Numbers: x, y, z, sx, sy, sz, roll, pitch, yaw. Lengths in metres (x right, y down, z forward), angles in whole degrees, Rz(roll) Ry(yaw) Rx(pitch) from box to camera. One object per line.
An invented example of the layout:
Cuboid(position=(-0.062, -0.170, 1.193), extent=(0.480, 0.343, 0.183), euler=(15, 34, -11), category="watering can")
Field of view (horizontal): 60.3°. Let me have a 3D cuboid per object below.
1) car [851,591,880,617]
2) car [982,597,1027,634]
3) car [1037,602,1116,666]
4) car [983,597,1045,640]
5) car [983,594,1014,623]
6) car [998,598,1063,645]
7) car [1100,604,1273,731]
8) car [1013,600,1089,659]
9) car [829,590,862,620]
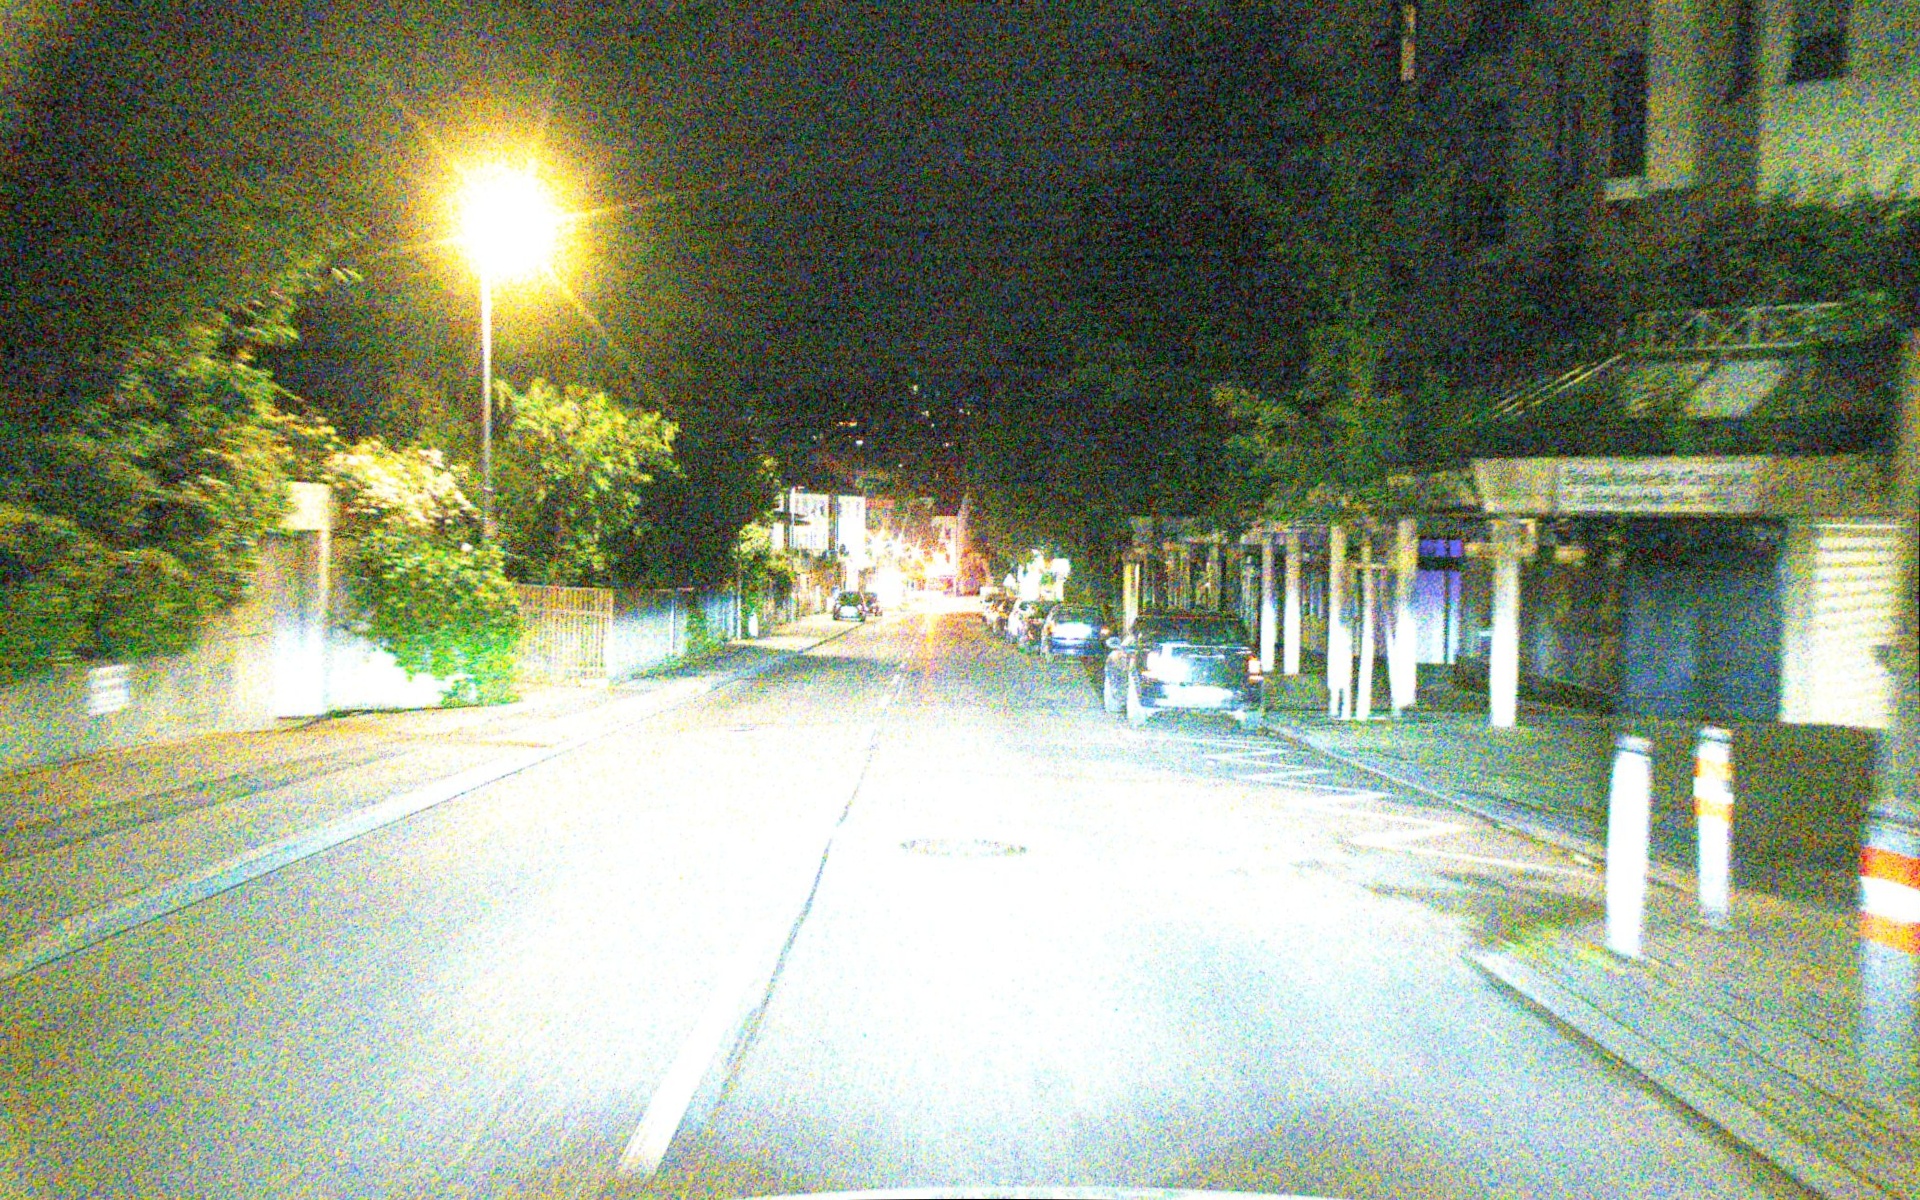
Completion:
Cuboid(position=(-6.007, 0.246, 105.054), extent=(1.718, 1.566, 3.729), euler=(1, 0, -2), category="car")
Cuboid(position=(1.917, 0.655, 72.460), extent=(1.649, 1.474, 3.998), euler=(2, 0, -3), category="car")
Cuboid(position=(2.863, 0.807, 41.200), extent=(1.829, 1.427, 4.002), euler=(2, 0, 3), category="car")
Cuboid(position=(1.968, 0.653, 61.284), extent=(1.650, 1.474, 3.994), euler=(2, 0, -7), category="car")
Cuboid(position=(2.149, 0.475, 92.873), extent=(1.648, 1.566, 4.000), euler=(1, 0, 0), category="car")
Cuboid(position=(2.385, 0.696, 56.647), extent=(1.650, 1.474, 3.995), euler=(2, 0, -6), category="car")
Cuboid(position=(2.877, 0.811, 21.741), extent=(1.597, 1.464, 3.863), euler=(1, 0, -2), category="car")
Cuboid(position=(2.484, 0.782, 46.042), extent=(1.649, 1.474, 3.998), euler=(2, 0, -3), category="car")
Cuboid(position=(-6.100, 0.268, 87.929), extent=(1.718, 1.566, 3.728), euler=(1, 0, -4), category="car")
